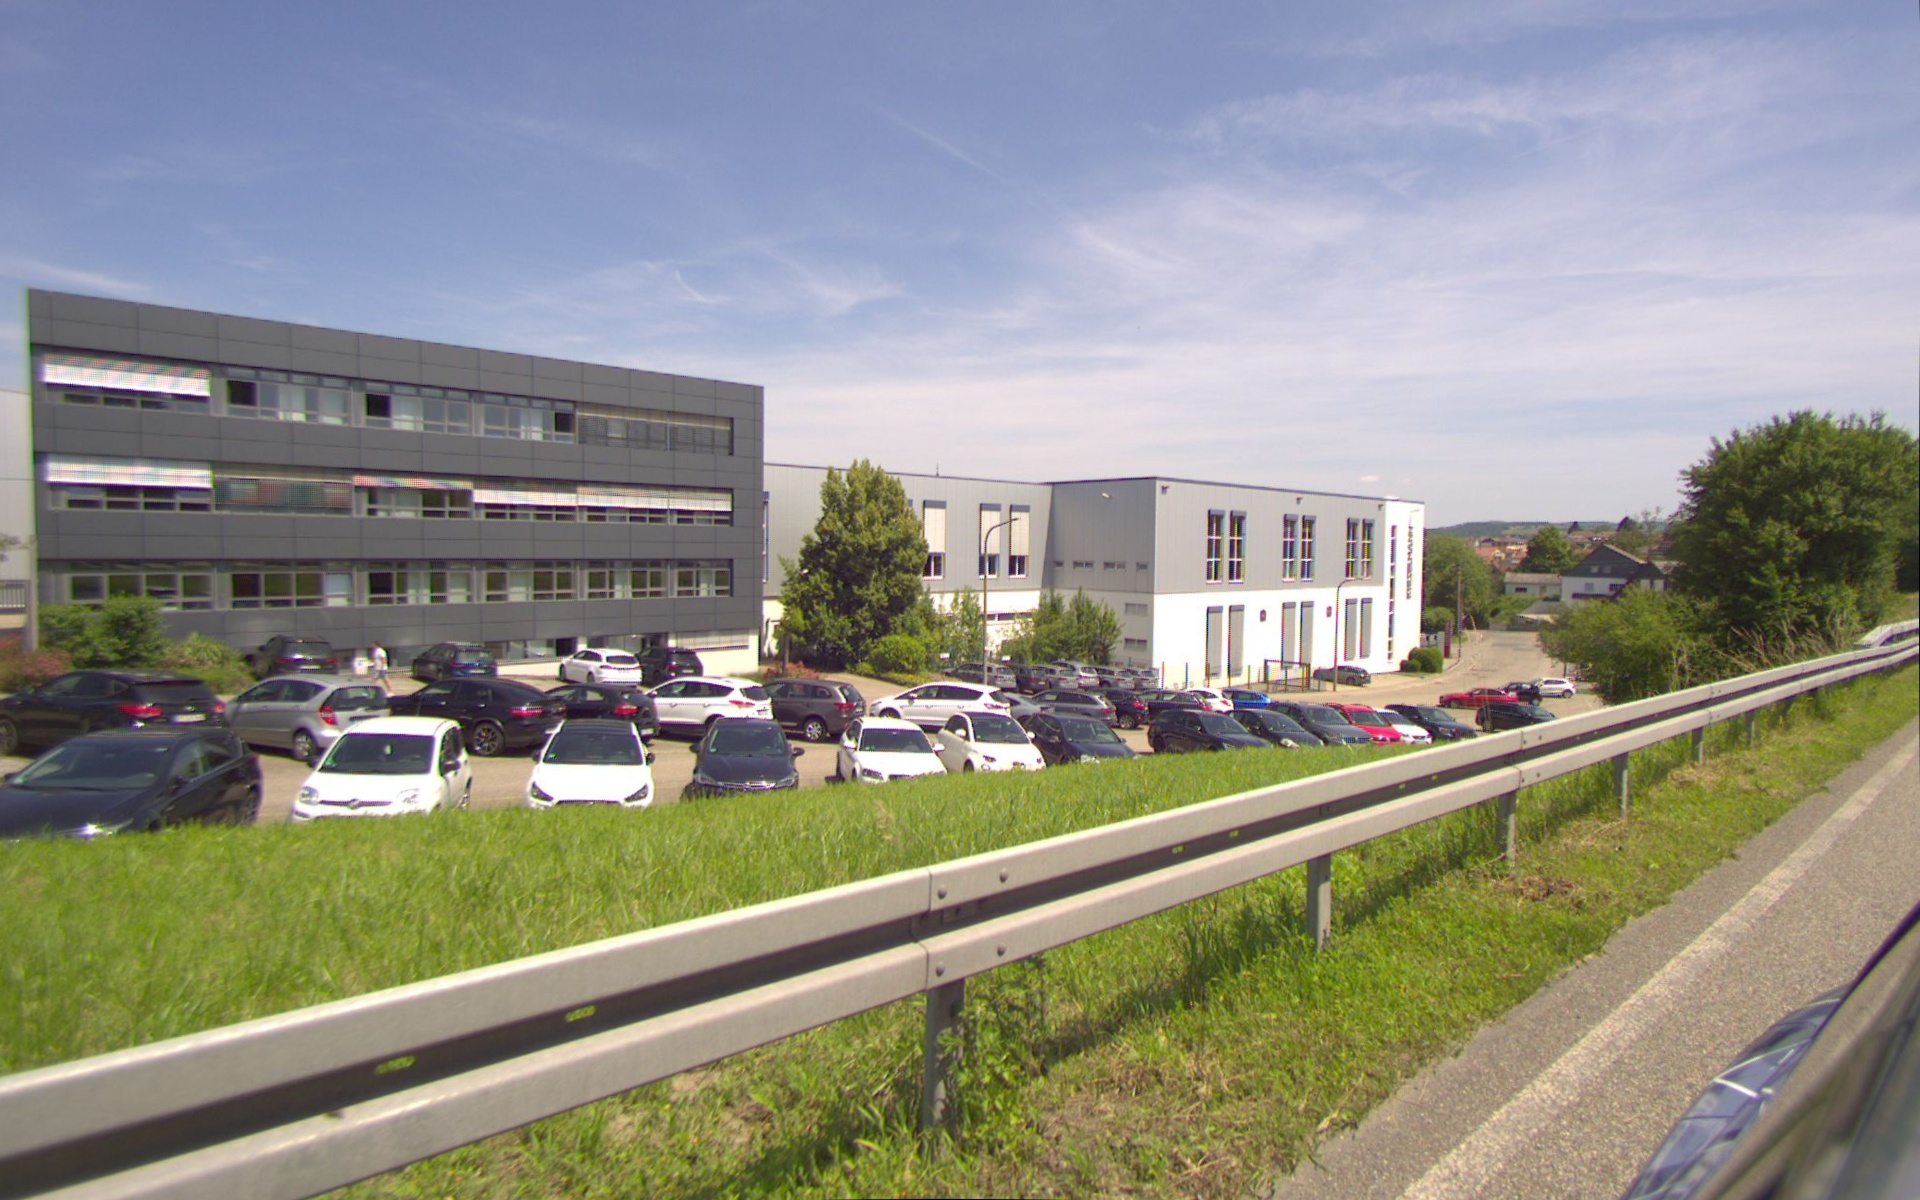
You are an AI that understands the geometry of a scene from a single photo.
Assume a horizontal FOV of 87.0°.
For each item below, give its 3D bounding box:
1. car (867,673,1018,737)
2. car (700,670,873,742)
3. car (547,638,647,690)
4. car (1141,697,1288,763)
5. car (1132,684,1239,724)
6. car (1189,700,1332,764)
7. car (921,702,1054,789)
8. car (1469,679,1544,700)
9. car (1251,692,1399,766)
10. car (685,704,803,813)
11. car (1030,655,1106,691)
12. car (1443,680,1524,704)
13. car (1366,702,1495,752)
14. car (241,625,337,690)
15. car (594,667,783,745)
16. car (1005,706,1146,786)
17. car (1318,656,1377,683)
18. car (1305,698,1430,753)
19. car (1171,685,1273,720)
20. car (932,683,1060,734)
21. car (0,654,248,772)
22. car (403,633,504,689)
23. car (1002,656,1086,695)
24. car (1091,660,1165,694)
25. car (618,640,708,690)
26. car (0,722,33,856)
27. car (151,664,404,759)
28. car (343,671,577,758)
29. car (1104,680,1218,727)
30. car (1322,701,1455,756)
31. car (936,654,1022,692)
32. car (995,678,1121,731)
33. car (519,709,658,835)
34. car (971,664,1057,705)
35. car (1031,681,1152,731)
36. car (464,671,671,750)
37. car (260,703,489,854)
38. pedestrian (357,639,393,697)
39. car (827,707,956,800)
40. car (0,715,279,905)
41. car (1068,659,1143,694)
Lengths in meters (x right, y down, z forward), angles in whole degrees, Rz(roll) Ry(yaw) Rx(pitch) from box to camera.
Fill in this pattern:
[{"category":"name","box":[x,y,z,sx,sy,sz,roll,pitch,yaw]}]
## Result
[{"category":"car","box":[-0.538,3.358,32.806,4.523,1.682,1.780,2,-3,17]},{"category":"car","box":[-4.940,2.972,28.969,4.523,1.682,1.780,2,-3,17]},{"category":"car","box":[-14.240,2.467,39.578,4.573,1.592,1.791,3,0,44]},{"category":"car","box":[6.996,3.559,28.443,1.874,1.508,4.732,1,-4,-16]},{"category":"car","box":[9.728,4.453,43.632,4.352,1.626,1.779,-2,-4,18]},{"category":"car","box":[9.035,3.951,30.895,1.919,1.585,4.732,1,-4,-16]},{"category":"car","box":[0.496,3.094,22.252,1.643,1.538,4.132,1,-4,-18]},{"category":"car","box":[38.845,6.347,72.047,4.352,1.464,1.779,-2,-4,18]},{"category":"car","box":[11.515,4.032,32.360,2.035,2.040,4.732,1,-4,-16]},{"category":"car","box":[-3.899,2.682,17.919,1.780,1.476,4.383,1,-4,-14]},{"category":"car","box":[6.196,4.186,58.382,1.880,1.591,4.043,3,1,-44]},{"category":"car","box":[33.899,5.939,65.609,4.352,1.464,1.779,-2,-4,18]},{"category":"car","box":[17.575,4.729,38.048,1.752,1.563,4.417,1,-4,-20]},{"category":"car","box":[-21.456,1.792,32.303,1.789,1.668,4.578,4,0,-43]},{"category":"car","box":[-7.213,2.756,26.963,4.523,1.682,1.810,2,-3,17]},{"category":"car","box":[2.633,3.383,24.154,1.675,1.510,4.383,1,-4,-18]},{"category":"car","box":[31.616,5.668,82.622,1.880,1.591,4.045,3,4,-44]},{"category":"car","box":[13.570,4.157,34.063,1.945,1.580,4.414,0,-4,-7]},{"category":"car","box":[11.740,4.576,45.343,4.352,1.464,1.779,-2,-4,18]},{"category":"car","box":[1.267,3.709,35.001,4.102,1.396,1.780,2,-3,17]},{"category":"car","box":[-15.614,1.996,18.627,4.184,1.649,1.810,4,-2,17]},{"category":"car","box":[-18.180,2.144,36.221,4.574,1.592,1.791,3,0,44]},{"category":"car","box":[4.656,4.154,56.367,1.790,1.591,4.578,3,1,-44]},{"category":"car","box":[10.200,4.641,61.696,1.880,1.591,4.043,3,1,-44]},{"category":"car","box":[-12.239,2.628,41.542,1.788,1.592,4.581,4,0,-40]},{"category":"car","box":[-11.963,2.187,10.390,1.848,1.580,4.383,1,-4,-17]},{"category":"car","box":[-14.102,2.239,20.964,4.523,1.560,1.810,2,-3,17]},{"category":"car","box":[-11.171,2.504,22.701,4.518,1.533,1.812,2,-3,14]},{"category":"car","box":[8.150,4.156,41.020,4.353,1.561,1.779,2,-3,18]},{"category":"car","box":[15.446,4.592,36.767,1.859,1.685,4.417,1,-4,-20]},{"category":"car","box":[0.964,3.795,53.242,1.790,1.592,4.576,3,-1,-44]},{"category":"car","box":[3.605,3.772,36.874,4.345,1.530,1.782,3,-3,13]},{"category":"car","box":[-5.758,2.586,16.067,1.780,1.476,4.383,1,-4,-17]},{"category":"car","box":[2.883,4.522,54.711,1.790,1.591,4.578,3,1,-44]},{"category":"car","box":[5.103,4.039,39.080,4.353,1.556,1.779,2,-3,18]},{"category":"car","box":[-9.660,2.669,24.973,4.523,1.533,1.810,2,-3,17]},{"category":"car","box":[-8.025,2.344,14.336,1.823,1.580,4.383,1,-4,-17]},{"category":"pedestrian","box":[-18.059,2.099,31.265,0.813,1.746,0.633,3,-5,-41]},{"category":"car","box":[-1.486,2.939,20.106,1.780,1.413,4.383,1,-4,-14]},{"category":"car","box":[-9.845,2.267,11.858,1.848,1.580,4.383,1,-4,-17]},{"category":"car","box":[8.560,4.498,59.905,1.880,1.591,4.043,3,1,-44]}]
